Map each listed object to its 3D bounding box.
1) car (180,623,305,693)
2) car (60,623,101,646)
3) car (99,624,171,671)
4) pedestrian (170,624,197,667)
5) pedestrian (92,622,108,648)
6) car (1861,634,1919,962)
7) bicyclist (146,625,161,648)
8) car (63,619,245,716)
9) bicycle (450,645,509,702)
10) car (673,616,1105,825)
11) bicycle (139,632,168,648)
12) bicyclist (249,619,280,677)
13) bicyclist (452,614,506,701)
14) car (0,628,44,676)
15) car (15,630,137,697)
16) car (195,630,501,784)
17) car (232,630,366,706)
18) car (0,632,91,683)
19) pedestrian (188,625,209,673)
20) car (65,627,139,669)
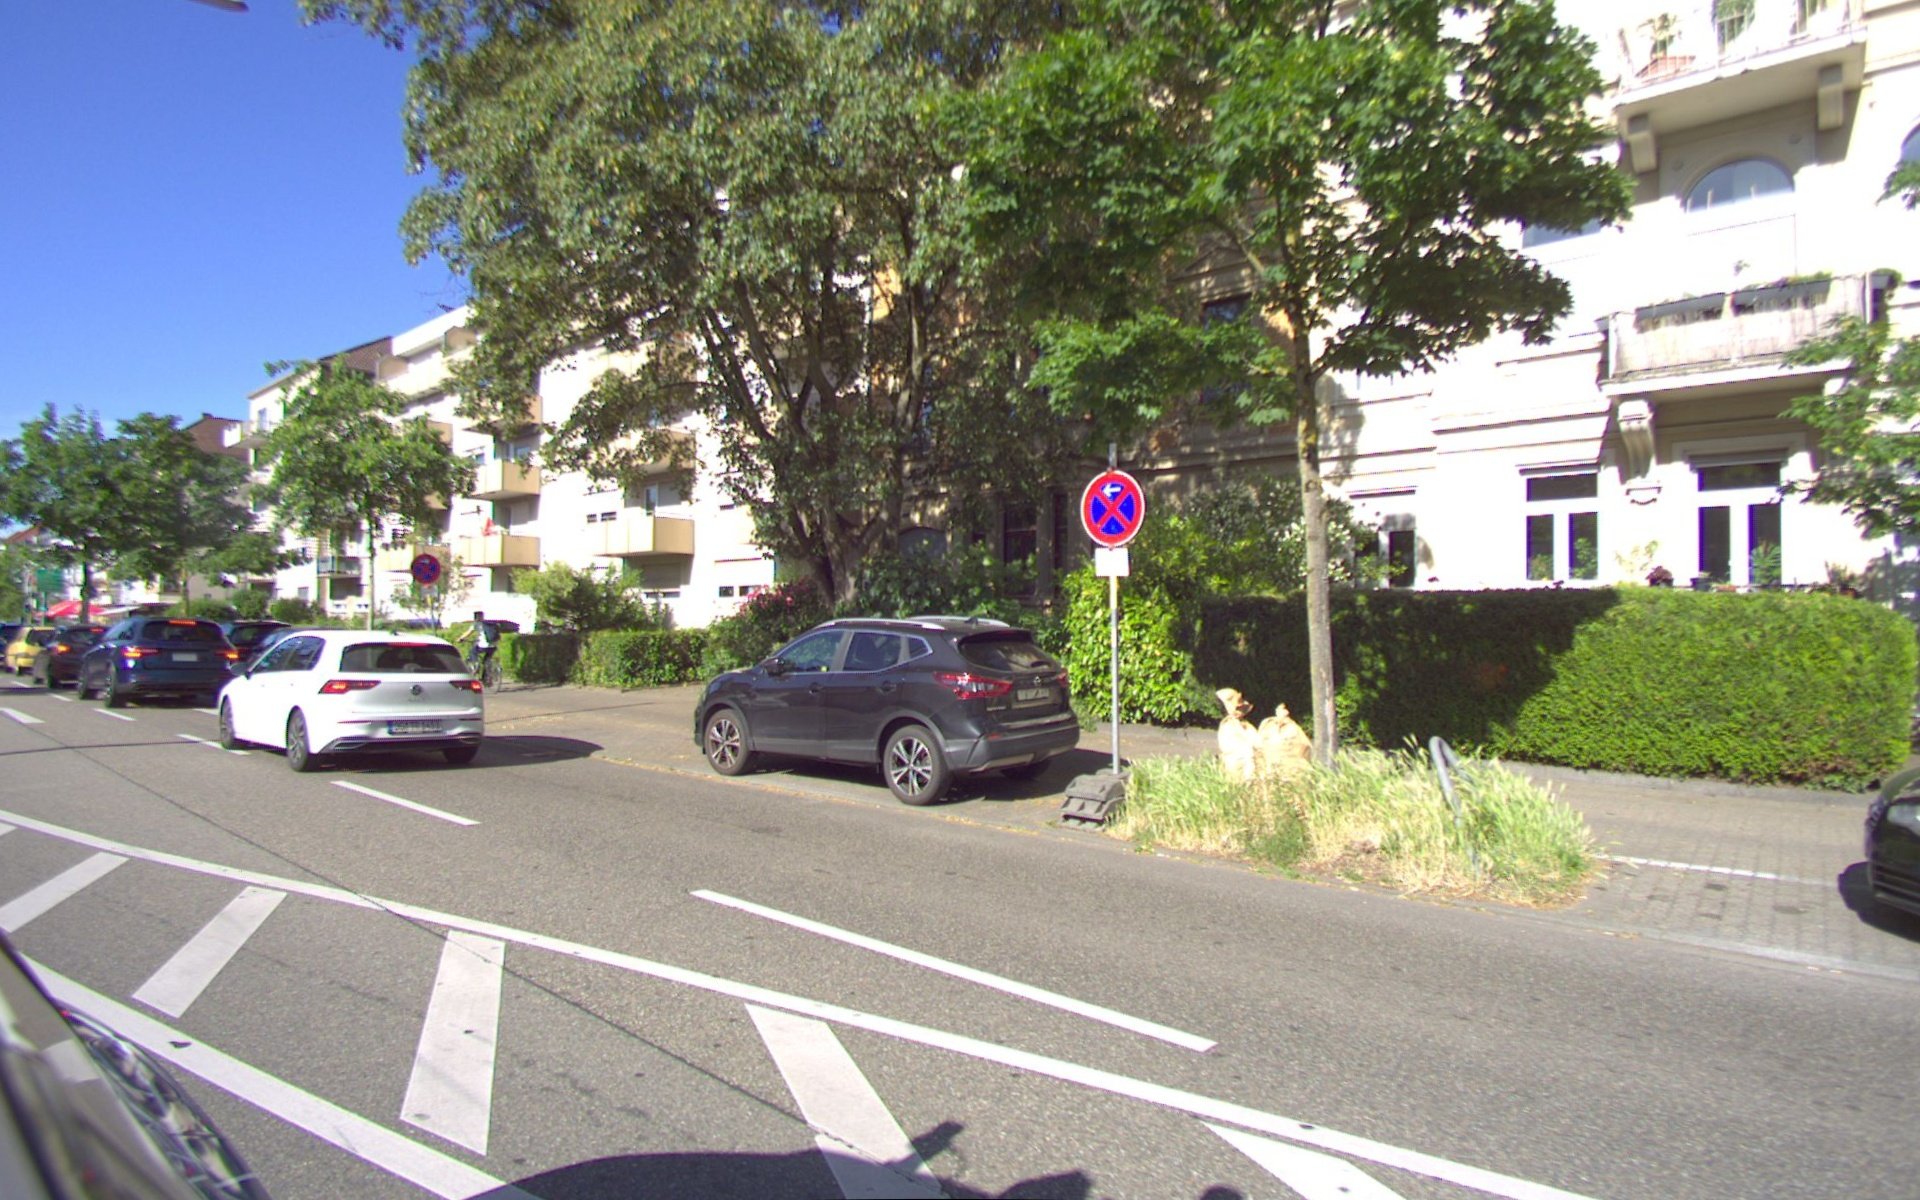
[{"bbox_3d":[-18.299,1.399,25.746,4.393,1.617,1.652,-1,-1,42],"label":"car"},{"bbox_3d":[-64.626,2.541,74.334,4.303,1.635,1.742,-1,-2,42],"label":"car"},{"bbox_3d":[-28.242,1.602,34.617,3.685,1.501,1.386,-2,-2,42],"label":"car"},{"bbox_3d":[-31.095,1.800,40.529,0.929,1.699,0.662,-2,-2,40],"label":"pedestrian"},{"bbox_3d":[-55.920,2.286,65.804,0.682,1.671,0.650,-1,-3,42],"label":"pedestrian"},{"bbox_3d":[6.307,0.884,3.964,4.088,1.427,1.620,-2,0,41],"label":"car"},{"bbox_3d":[-57.549,2.592,72.224,0.578,1.619,0.677,-1,-2,39],"label":"bicyclist"},{"bbox_3d":[-15.288,1.224,19.109,4.398,1.626,1.817,-2,-4,41],"label":"car"},{"bbox_3d":[-10.262,1.547,21.599,1.763,1.124,0.444,-2,0,41],"label":"bicycle"},{"bbox_3d":[-0.867,0.995,9.944,4.345,1.600,1.608,-2,-1,40],"label":"car"},{"bbox_3d":[-57.555,2.856,72.240,0.449,1.085,1.545,-1,-2,39],"label":"bicycle"},{"bbox_3d":[-21.502,1.463,31.269,0.691,1.767,0.602,-2,-3,41],"label":"bicyclist"},{"bbox_3d":[-10.275,1.208,21.598,1.207,1.780,0.576,-2,0,41],"label":"bicyclist"},{"bbox_3d":[-32.810,1.747,34.634,4.074,1.529,1.638,-1,-5,41],"label":"car"},{"bbox_3d":[-21.175,1.465,24.212,3.741,1.463,1.565,-1,-3,39],"label":"car"},{"bbox_3d":[-7.018,1.084,11.429,4.190,1.423,1.715,-1,-4,41],"label":"car"},{"bbox_3d":[-14.597,1.426,22.263,3.931,1.488,1.584,-1,-1,43],"label":"car"},{"bbox_3d":[-26.957,1.662,29.649,3.733,1.414,1.618,-1,-4,40],"label":"car"},{"bbox_3d":[-26.784,1.723,35.591,0.719,1.663,0.464,-1,-1,42],"label":"pedestrian"},{"bbox_3d":[-32.096,1.775,37.818,3.893,1.487,1.488,-2,-2,40],"label":"car"}]
